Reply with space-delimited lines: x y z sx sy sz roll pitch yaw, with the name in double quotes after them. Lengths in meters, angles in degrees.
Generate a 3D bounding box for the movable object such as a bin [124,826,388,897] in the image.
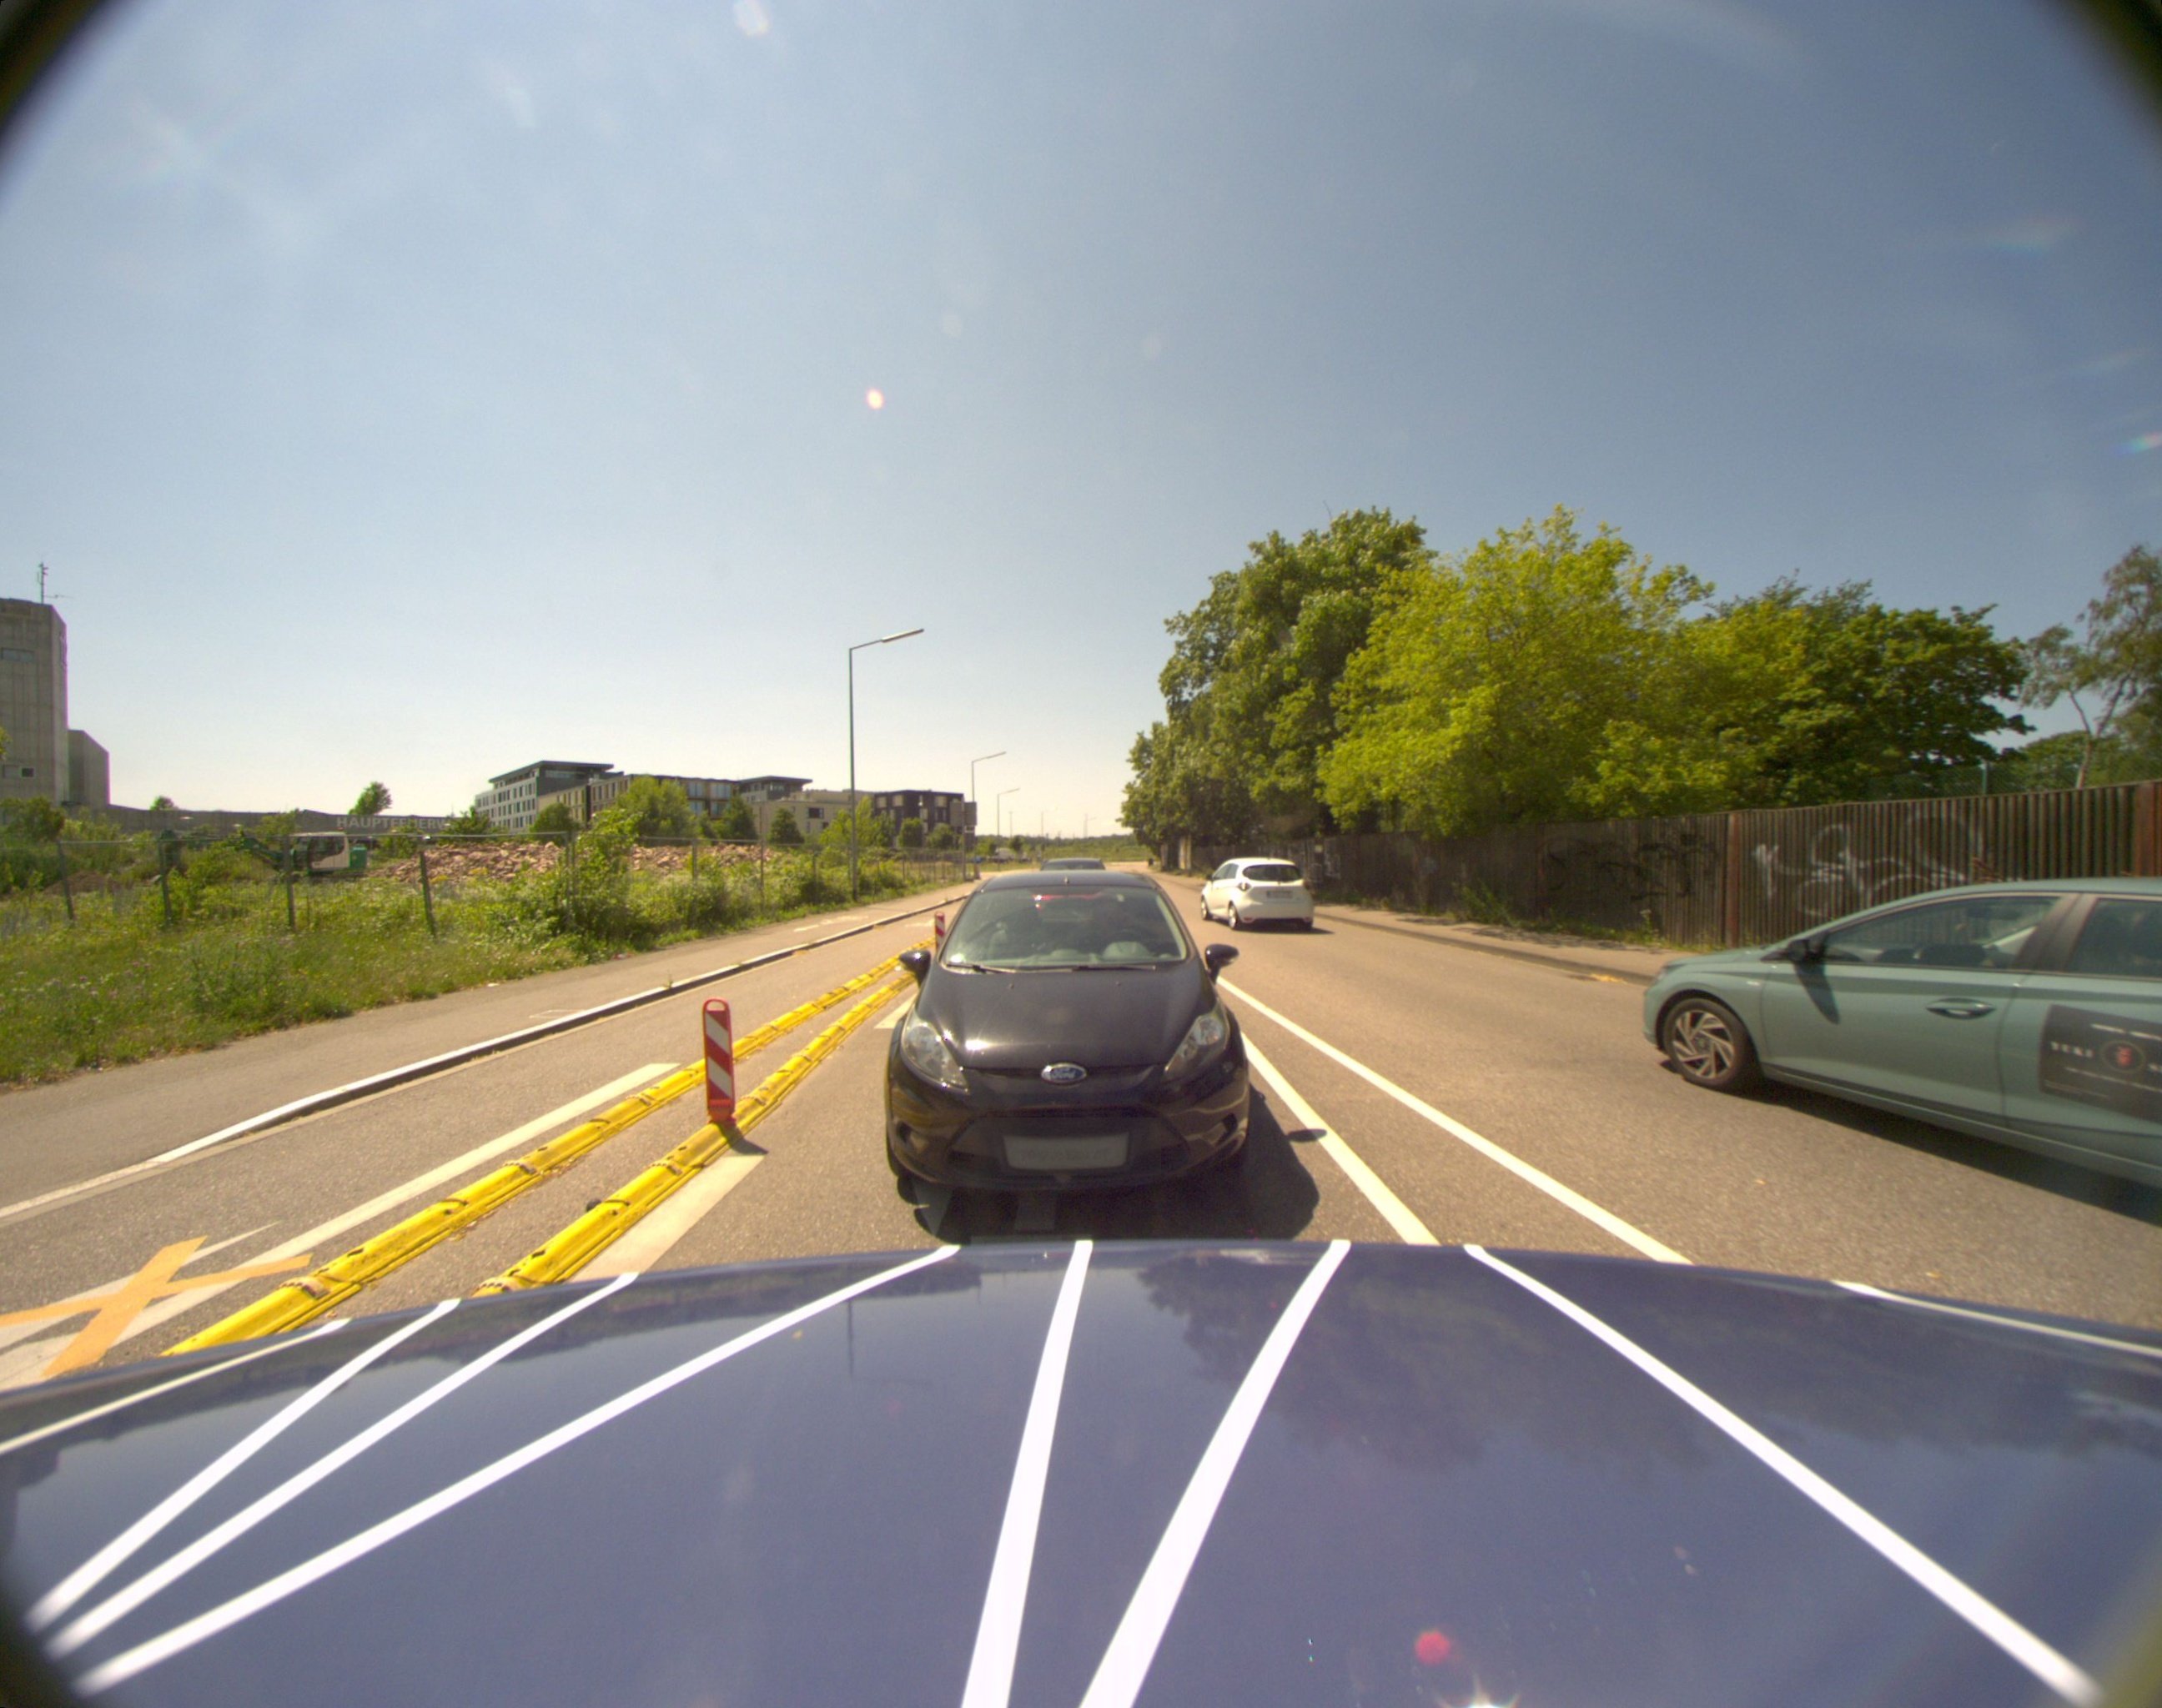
-38.360 0.265 35.881 3.231 2.899 7.702 -2 1 15 "movable object such as a bin"

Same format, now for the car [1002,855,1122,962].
-0.287 0.898 14.904 1.924 1.643 4.668 -2 1 1 "car"

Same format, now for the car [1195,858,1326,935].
3.942 0.874 17.345 1.781 1.518 3.871 -1 0 -5 "car"

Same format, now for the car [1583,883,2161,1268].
5.030 0.930 3.954 1.751 1.363 4.329 -1 0 -4 "car"

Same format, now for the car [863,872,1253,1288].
-0.065 0.973 5.092 1.528 1.510 3.999 -2 1 1 "car"
